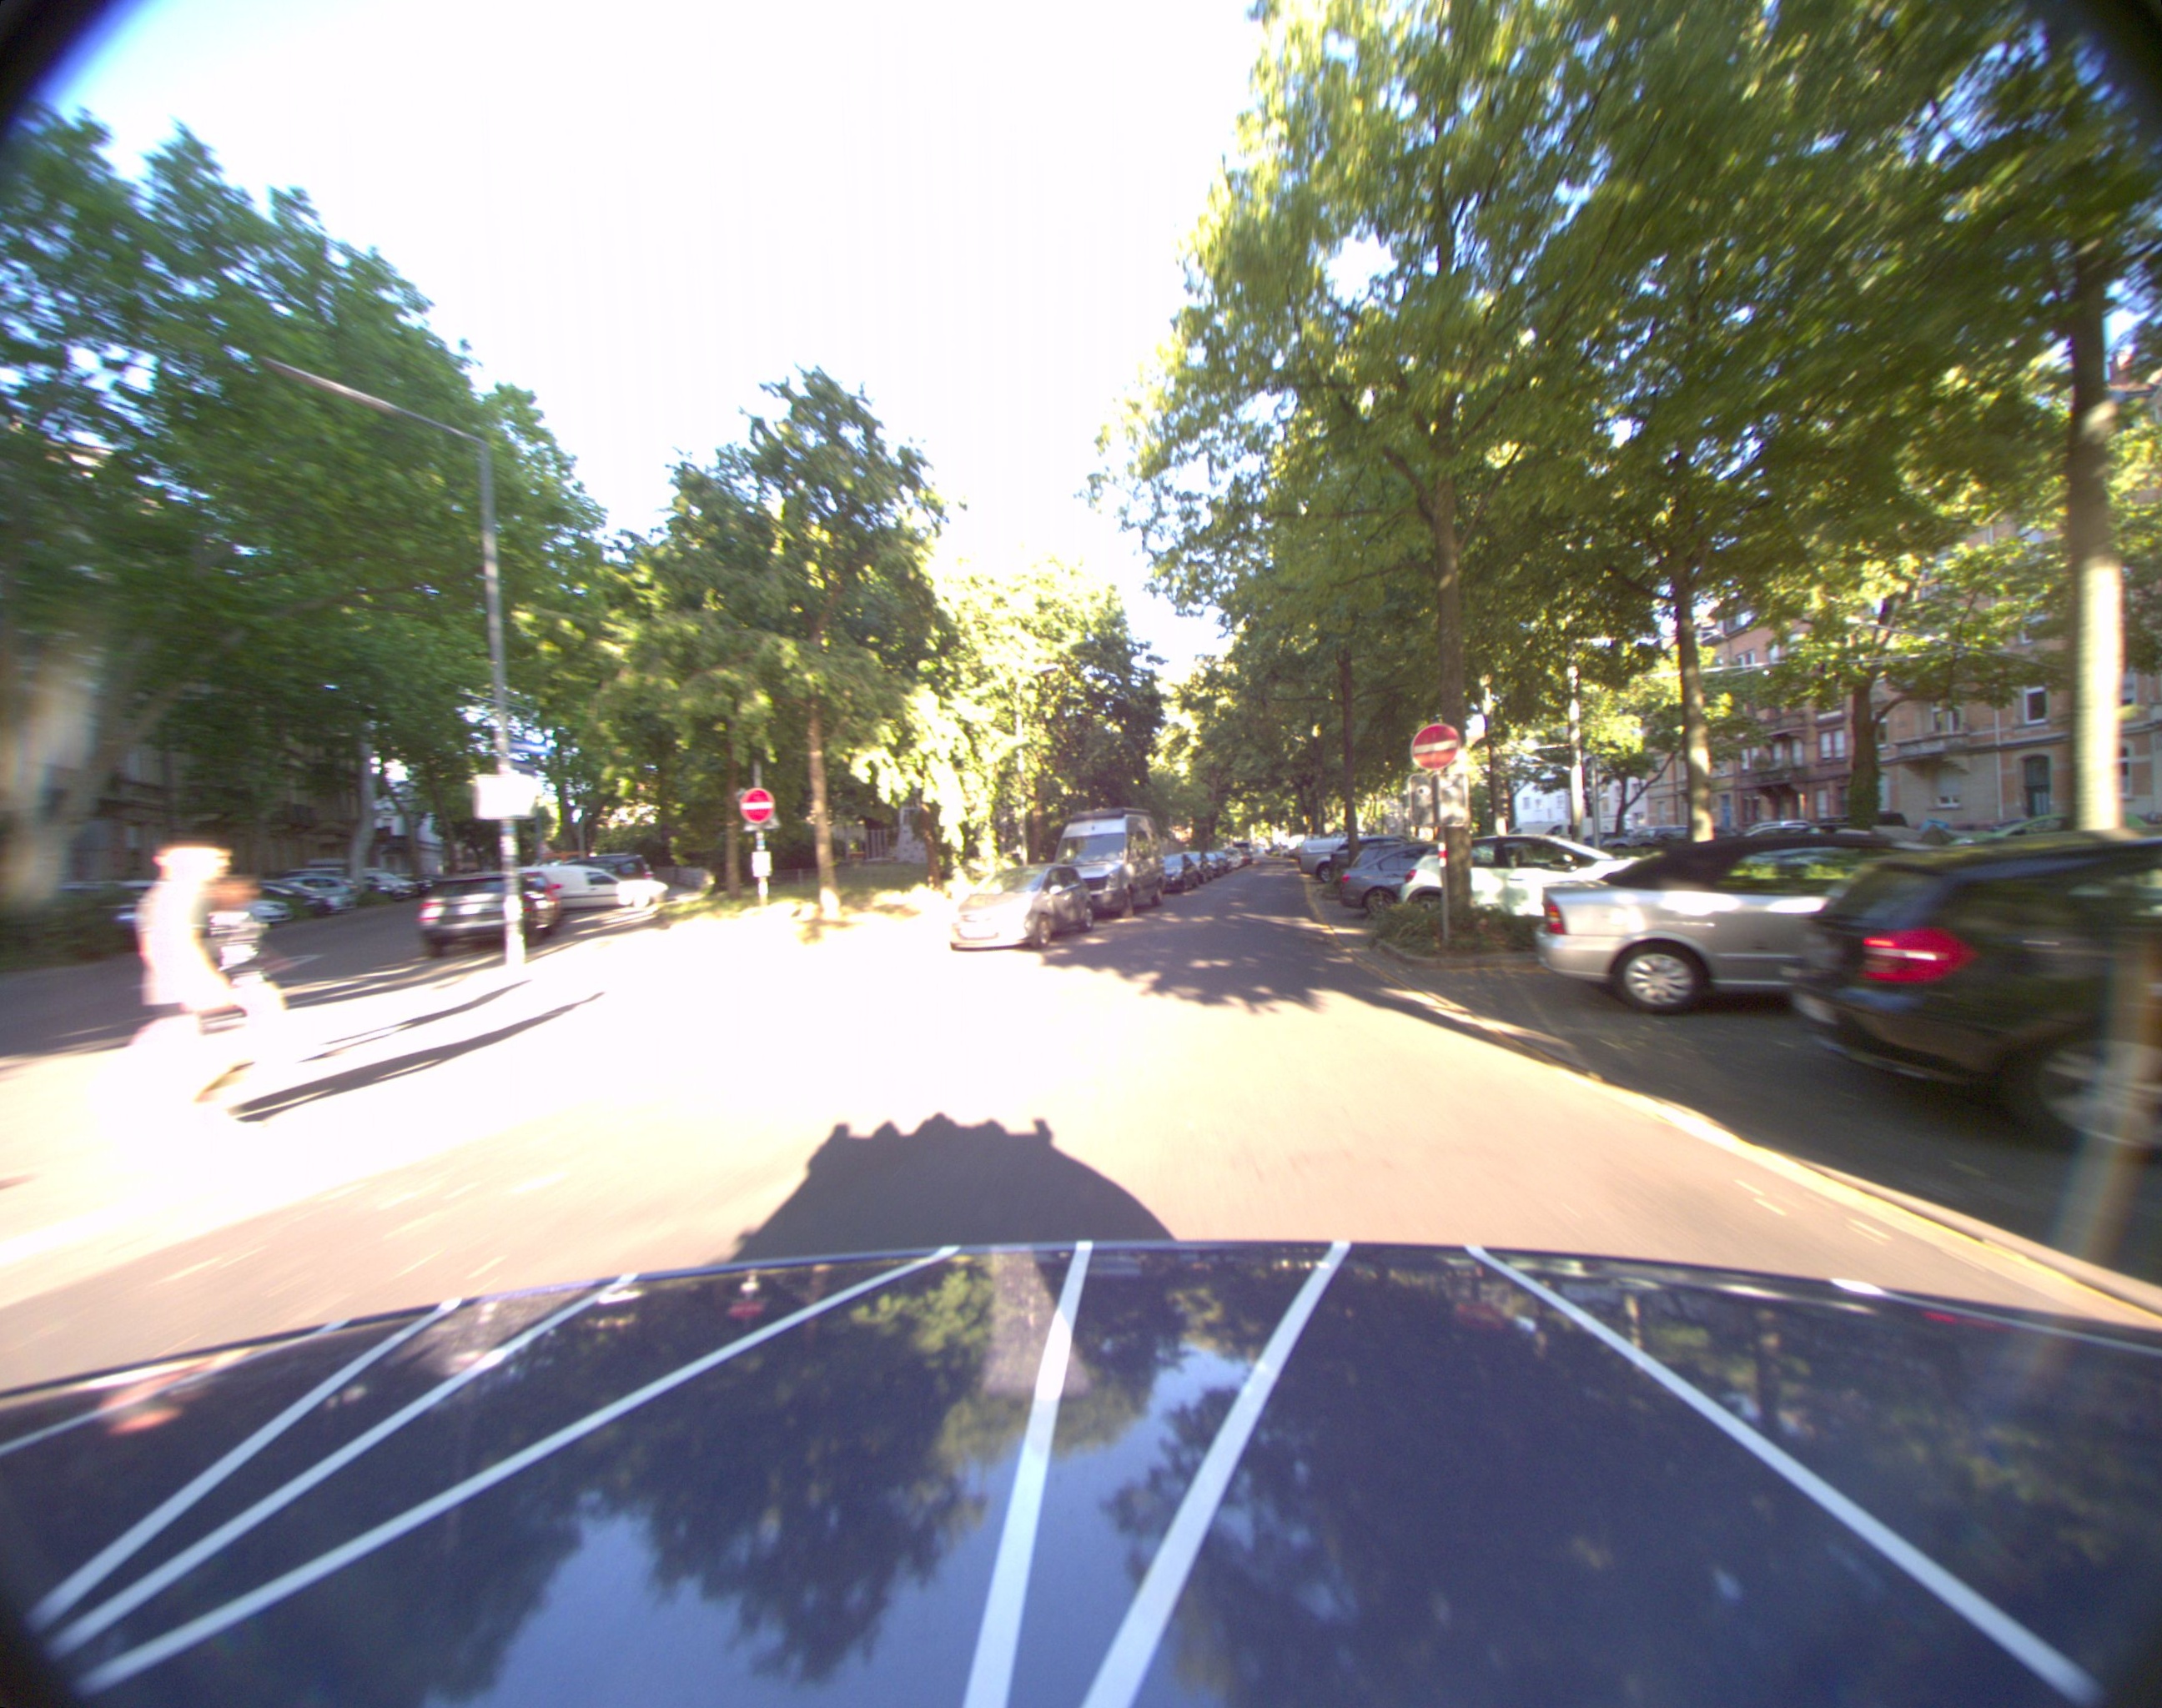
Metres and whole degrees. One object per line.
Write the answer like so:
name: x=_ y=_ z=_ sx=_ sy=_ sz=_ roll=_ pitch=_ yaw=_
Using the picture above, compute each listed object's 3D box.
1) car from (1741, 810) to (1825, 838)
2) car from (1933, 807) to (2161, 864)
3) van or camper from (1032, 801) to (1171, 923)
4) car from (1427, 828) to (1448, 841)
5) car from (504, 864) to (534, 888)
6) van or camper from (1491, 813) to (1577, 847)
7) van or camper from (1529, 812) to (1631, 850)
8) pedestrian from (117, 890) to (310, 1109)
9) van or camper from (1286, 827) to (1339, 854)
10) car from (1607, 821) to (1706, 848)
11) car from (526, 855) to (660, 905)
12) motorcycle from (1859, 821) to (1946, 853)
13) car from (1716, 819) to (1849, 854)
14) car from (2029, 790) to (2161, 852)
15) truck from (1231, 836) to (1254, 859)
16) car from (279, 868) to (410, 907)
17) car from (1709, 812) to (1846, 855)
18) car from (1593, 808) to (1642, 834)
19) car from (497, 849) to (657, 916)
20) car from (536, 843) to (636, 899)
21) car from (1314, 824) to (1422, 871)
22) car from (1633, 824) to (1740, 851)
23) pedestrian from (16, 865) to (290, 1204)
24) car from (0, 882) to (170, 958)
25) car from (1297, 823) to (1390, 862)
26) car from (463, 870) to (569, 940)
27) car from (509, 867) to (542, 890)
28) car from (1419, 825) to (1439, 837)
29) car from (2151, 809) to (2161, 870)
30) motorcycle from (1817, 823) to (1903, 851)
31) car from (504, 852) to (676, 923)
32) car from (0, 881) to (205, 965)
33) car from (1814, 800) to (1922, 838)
car: x=41.045 y=-1.705 z=44.565 sx=1.853 sy=1.522 sz=4.027 roll=0 pitch=1 yaw=13
car: x=26.633 y=-0.477 z=21.122 sx=3.728 sy=1.373 sz=1.711 roll=-2 pitch=1 yaw=41
van or camper: x=0.788 y=0.153 z=20.391 sx=2.087 sy=2.746 sz=5.851 roll=-3 pitch=1 yaw=17
car: x=57.061 y=-3.104 z=121.551 sx=1.997 sy=2.002 sz=4.003 roll=-2 pitch=1 yaw=10
car: x=-41.543 y=1.617 z=56.218 sx=1.738 sy=1.623 sz=4.488 roll=-1 pitch=0 yaw=-36
van or camper: x=36.023 y=-1.901 z=60.532 sx=5.661 sy=2.454 sz=2.004 roll=-1 pitch=1 yaw=39
van or camper: x=34.103 y=-1.521 z=51.995 sx=5.536 sy=2.357 sz=2.312 roll=-1 pitch=1 yaw=42
pedestrian: x=-7.009 y=1.125 z=6.163 sx=0.813 sy=1.598 sz=0.717 roll=-2 pitch=1 yaw=20
van or camper: x=25.041 y=-1.479 z=82.184 sx=4.874 sy=2.456 sz=2.048 roll=-5 pitch=0 yaw=41
car: x=31.884 y=-1.073 z=42.167 sx=4.177 sy=1.302 sz=1.639 roll=-2 pitch=1 yaw=43
car: x=-19.980 y=1.040 z=31.378 sx=4.406 sy=1.484 sz=1.782 roll=-7 pitch=3 yaw=-29
motorcycle: x=26.556 y=-0.544 z=24.602 sx=1.722 sy=0.949 sz=1.022 roll=-2 pitch=1 yaw=35
car: x=29.956 y=-0.723 z=32.626 sx=3.989 sy=1.310 sz=1.597 roll=-2 pitch=1 yaw=35
car: x=36.704 y=-1.158 z=26.770 sx=1.997 sy=2.002 sz=4.004 roll=-4 pitch=0 yaw=13
truck: x=17.999 y=-0.791 z=84.512 sx=2.299 sy=2.372 sz=6.939 roll=-3 pitch=1 yaw=13
car: x=-37.507 y=1.678 z=38.863 sx=4.600 sy=1.755 sz=1.730 roll=-1 pitch=0 yaw=-38
car: x=28.057 y=-0.806 z=30.788 sx=3.989 sy=1.569 sz=2.004 roll=-1 pitch=1 yaw=40
car: x=45.548 y=-2.750 z=64.619 sx=1.997 sy=2.002 sz=4.003 roll=-2 pitch=1 yaw=13
car: x=-17.590 y=0.955 z=26.790 sx=4.406 sy=1.767 sz=1.782 roll=-7 pitch=3 yaw=-29
car: x=-28.570 y=0.936 z=43.962 sx=4.648 sy=2.950 sz=1.603 roll=-3 pitch=1 yaw=-35
car: x=13.126 y=-0.268 z=34.920 sx=1.887 sy=1.771 sz=4.151 roll=-6 pitch=0 yaw=-38
car: x=31.238 y=-0.837 z=39.277 sx=4.192 sy=1.161 sz=1.502 roll=-2 pitch=1 yaw=43
pedestrian: x=-5.431 y=0.974 z=4.478 sx=0.813 sy=1.771 sz=0.717 roll=-2 pitch=1 yaw=20
car: x=-25.309 y=1.609 z=18.509 sx=3.654 sy=1.587 sz=1.647 roll=-3 pitch=1 yaw=-38
car: x=18.043 y=-0.745 z=52.422 sx=5.501 sy=2.124 sz=2.084 roll=-6 pitch=0 yaw=45
car: x=-14.796 y=1.243 z=20.131 sx=1.746 sy=1.441 sz=4.634 roll=-5 pitch=2 yaw=-32
car: x=-38.744 y=1.661 z=53.013 sx=1.603 sy=1.459 sz=2.992 roll=-2 pitch=1 yaw=-32
car: x=58.505 y=-3.853 z=127.748 sx=1.997 sy=2.002 sz=4.003 roll=-2 pitch=1 yaw=10
car: x=25.504 y=-0.363 z=15.614 sx=3.728 sy=1.373 sz=1.730 roll=-2 pitch=1 yaw=40
motorcycle: x=26.848 y=-0.571 z=26.214 sx=1.022 sy=0.884 sz=1.972 roll=-3 pitch=1 yaw=-39
car: x=-15.805 y=1.023 z=24.764 sx=4.406 sy=1.698 sz=1.730 roll=-7 pitch=3 yaw=-29
car: x=-23.124 y=1.556 z=17.331 sx=3.784 sy=1.608 sz=1.904 roll=-3 pitch=1 yaw=-39
car: x=39.713 y=-1.717 z=38.483 sx=1.853 sy=1.772 sz=4.027 roll=0 pitch=1 yaw=13
